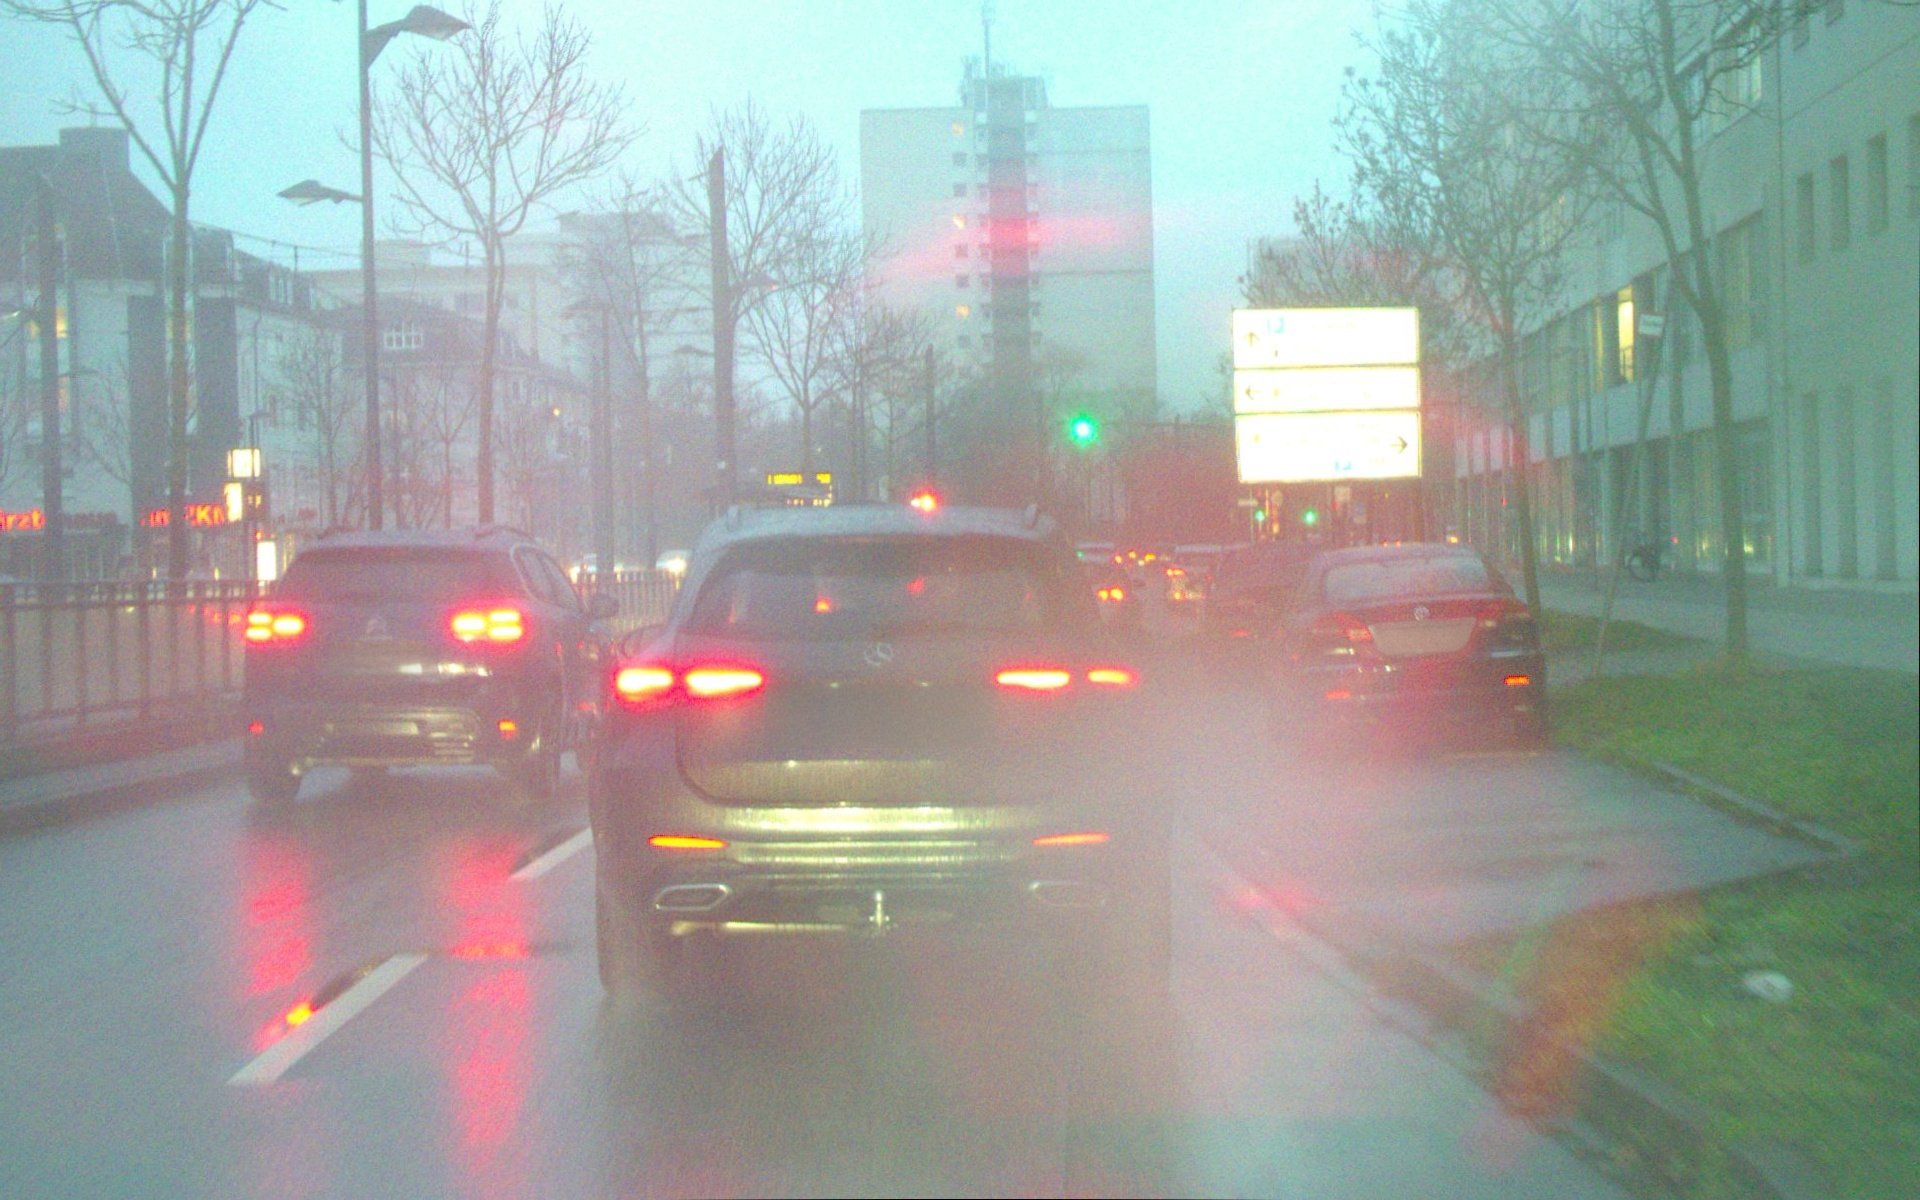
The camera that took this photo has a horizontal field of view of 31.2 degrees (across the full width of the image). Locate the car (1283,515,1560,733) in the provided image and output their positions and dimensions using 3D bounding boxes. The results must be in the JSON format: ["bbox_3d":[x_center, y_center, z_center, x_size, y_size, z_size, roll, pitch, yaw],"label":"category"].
[{"bbox_3d":[3.247,0.155,24.832,1.596,1.435,4.228,0,0,2],"label":"car"}]

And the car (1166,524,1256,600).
[{"bbox_3d":[5.698,-0.855,78.086,1.994,1.685,3.528,0,0,4],"label":"car"}]

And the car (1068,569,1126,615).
[{"bbox_3d":[4.614,-0.260,115.258,1.771,1.497,3.368,0,0,5],"label":"car"}]

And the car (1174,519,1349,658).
[{"bbox_3d":[3.252,-0.169,36.868,1.754,1.398,4.249,0,1,6],"label":"car"}]

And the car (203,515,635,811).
[{"bbox_3d":[-3.337,0.358,22.053,1.993,1.706,4.324,0,0,1],"label":"car"}]

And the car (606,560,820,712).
[{"bbox_3d":[-2.759,0.389,39.244,1.994,1.636,4.022,0,0,2],"label":"car"}]

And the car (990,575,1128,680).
[{"bbox_3d":[1.456,0.362,49.274,1.887,1.349,4.101,0,1,3],"label":"car"}]

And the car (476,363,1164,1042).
[{"bbox_3d":[-0.408,0.294,12.024,1.993,1.969,4.068,0,0,0],"label":"car"}]
